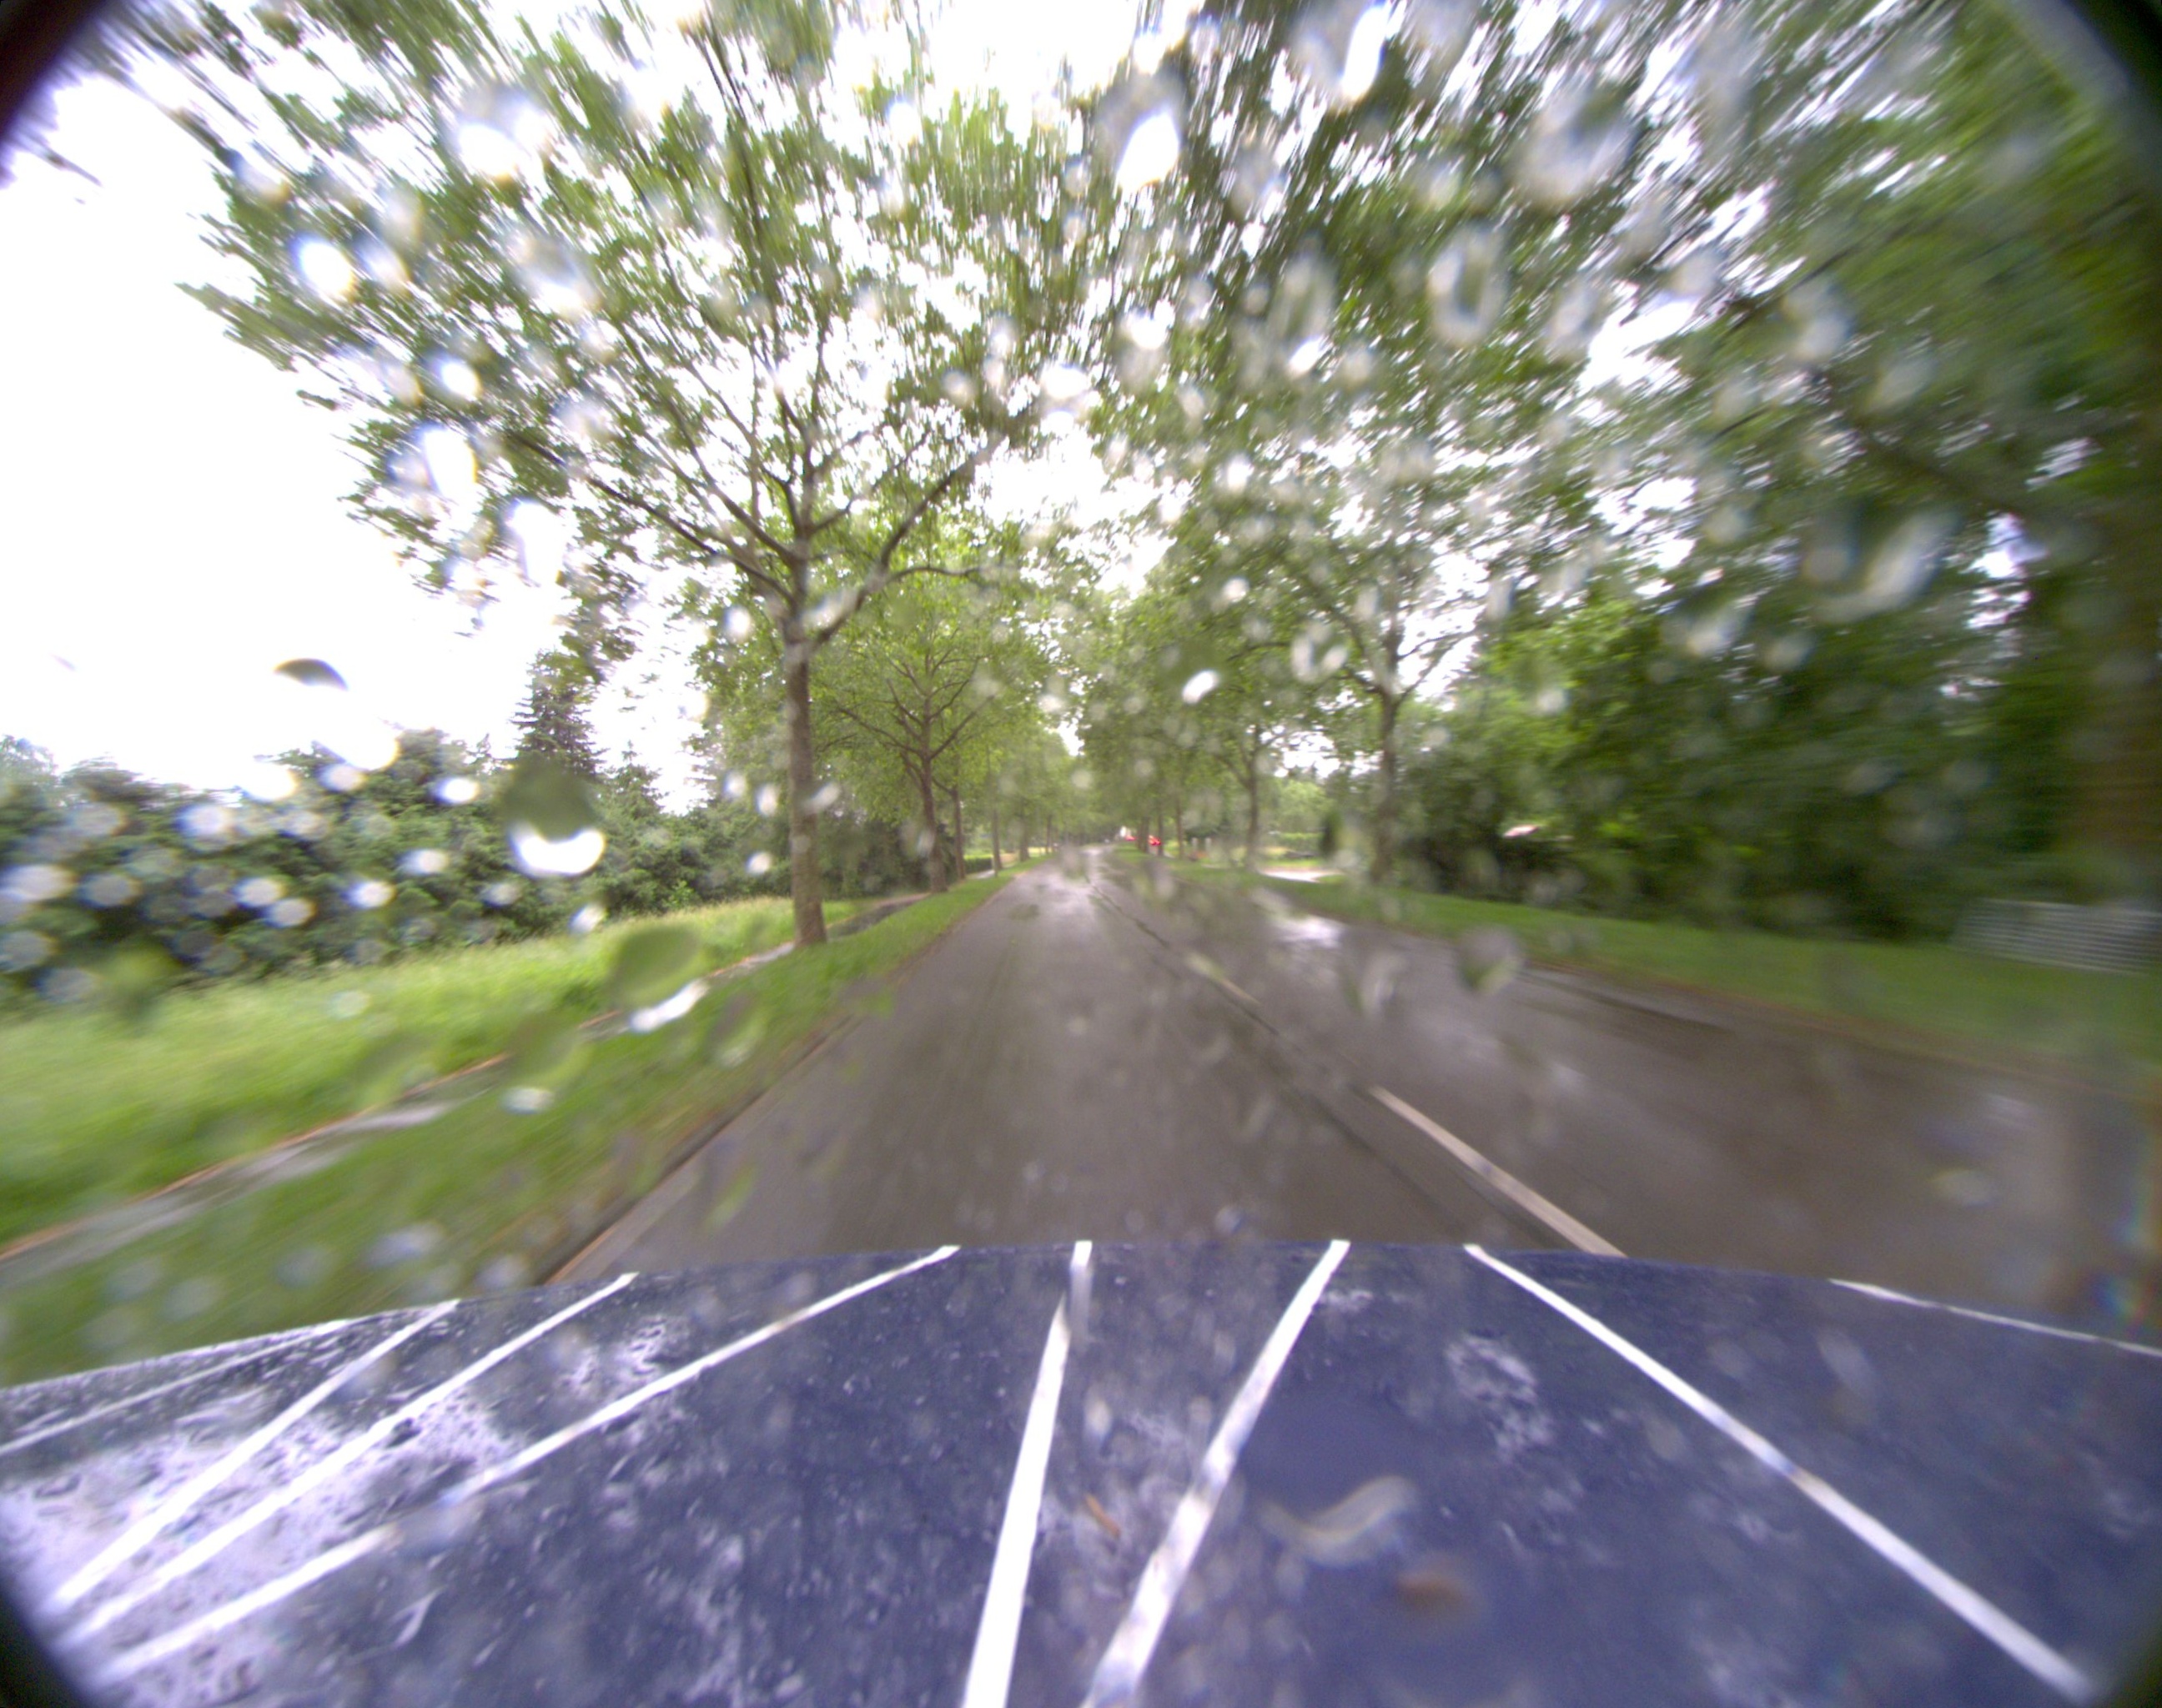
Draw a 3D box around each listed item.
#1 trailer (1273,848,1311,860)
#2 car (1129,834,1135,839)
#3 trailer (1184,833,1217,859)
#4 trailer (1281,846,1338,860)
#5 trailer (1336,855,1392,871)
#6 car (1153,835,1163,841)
[{"bbox_3d":[19.834,-0.039,71.432,3.083,0.939,1.768,-2,2,1],"label":"trailer"},{"bbox_3d":[16.223,-5.650,241.940,1.593,1.445,3.372,-2,2,1],"label":"car"},{"bbox_3d":[13.473,-0.984,86.221,2.804,2.649,6.651,-2,2,2],"label":"trailer"},{"bbox_3d":[20.450,-0.110,68.155,4.327,1.027,2.381,-3,2,-1],"label":"trailer"},{"bbox_3d":[18.495,0.564,49.690,3.036,0.833,1.677,-2,2,3],"label":"trailer"},{"bbox_3d":[20.376,-4.257,201.447,1.896,1.673,4.003,-2,2,15],"label":"car"}]
